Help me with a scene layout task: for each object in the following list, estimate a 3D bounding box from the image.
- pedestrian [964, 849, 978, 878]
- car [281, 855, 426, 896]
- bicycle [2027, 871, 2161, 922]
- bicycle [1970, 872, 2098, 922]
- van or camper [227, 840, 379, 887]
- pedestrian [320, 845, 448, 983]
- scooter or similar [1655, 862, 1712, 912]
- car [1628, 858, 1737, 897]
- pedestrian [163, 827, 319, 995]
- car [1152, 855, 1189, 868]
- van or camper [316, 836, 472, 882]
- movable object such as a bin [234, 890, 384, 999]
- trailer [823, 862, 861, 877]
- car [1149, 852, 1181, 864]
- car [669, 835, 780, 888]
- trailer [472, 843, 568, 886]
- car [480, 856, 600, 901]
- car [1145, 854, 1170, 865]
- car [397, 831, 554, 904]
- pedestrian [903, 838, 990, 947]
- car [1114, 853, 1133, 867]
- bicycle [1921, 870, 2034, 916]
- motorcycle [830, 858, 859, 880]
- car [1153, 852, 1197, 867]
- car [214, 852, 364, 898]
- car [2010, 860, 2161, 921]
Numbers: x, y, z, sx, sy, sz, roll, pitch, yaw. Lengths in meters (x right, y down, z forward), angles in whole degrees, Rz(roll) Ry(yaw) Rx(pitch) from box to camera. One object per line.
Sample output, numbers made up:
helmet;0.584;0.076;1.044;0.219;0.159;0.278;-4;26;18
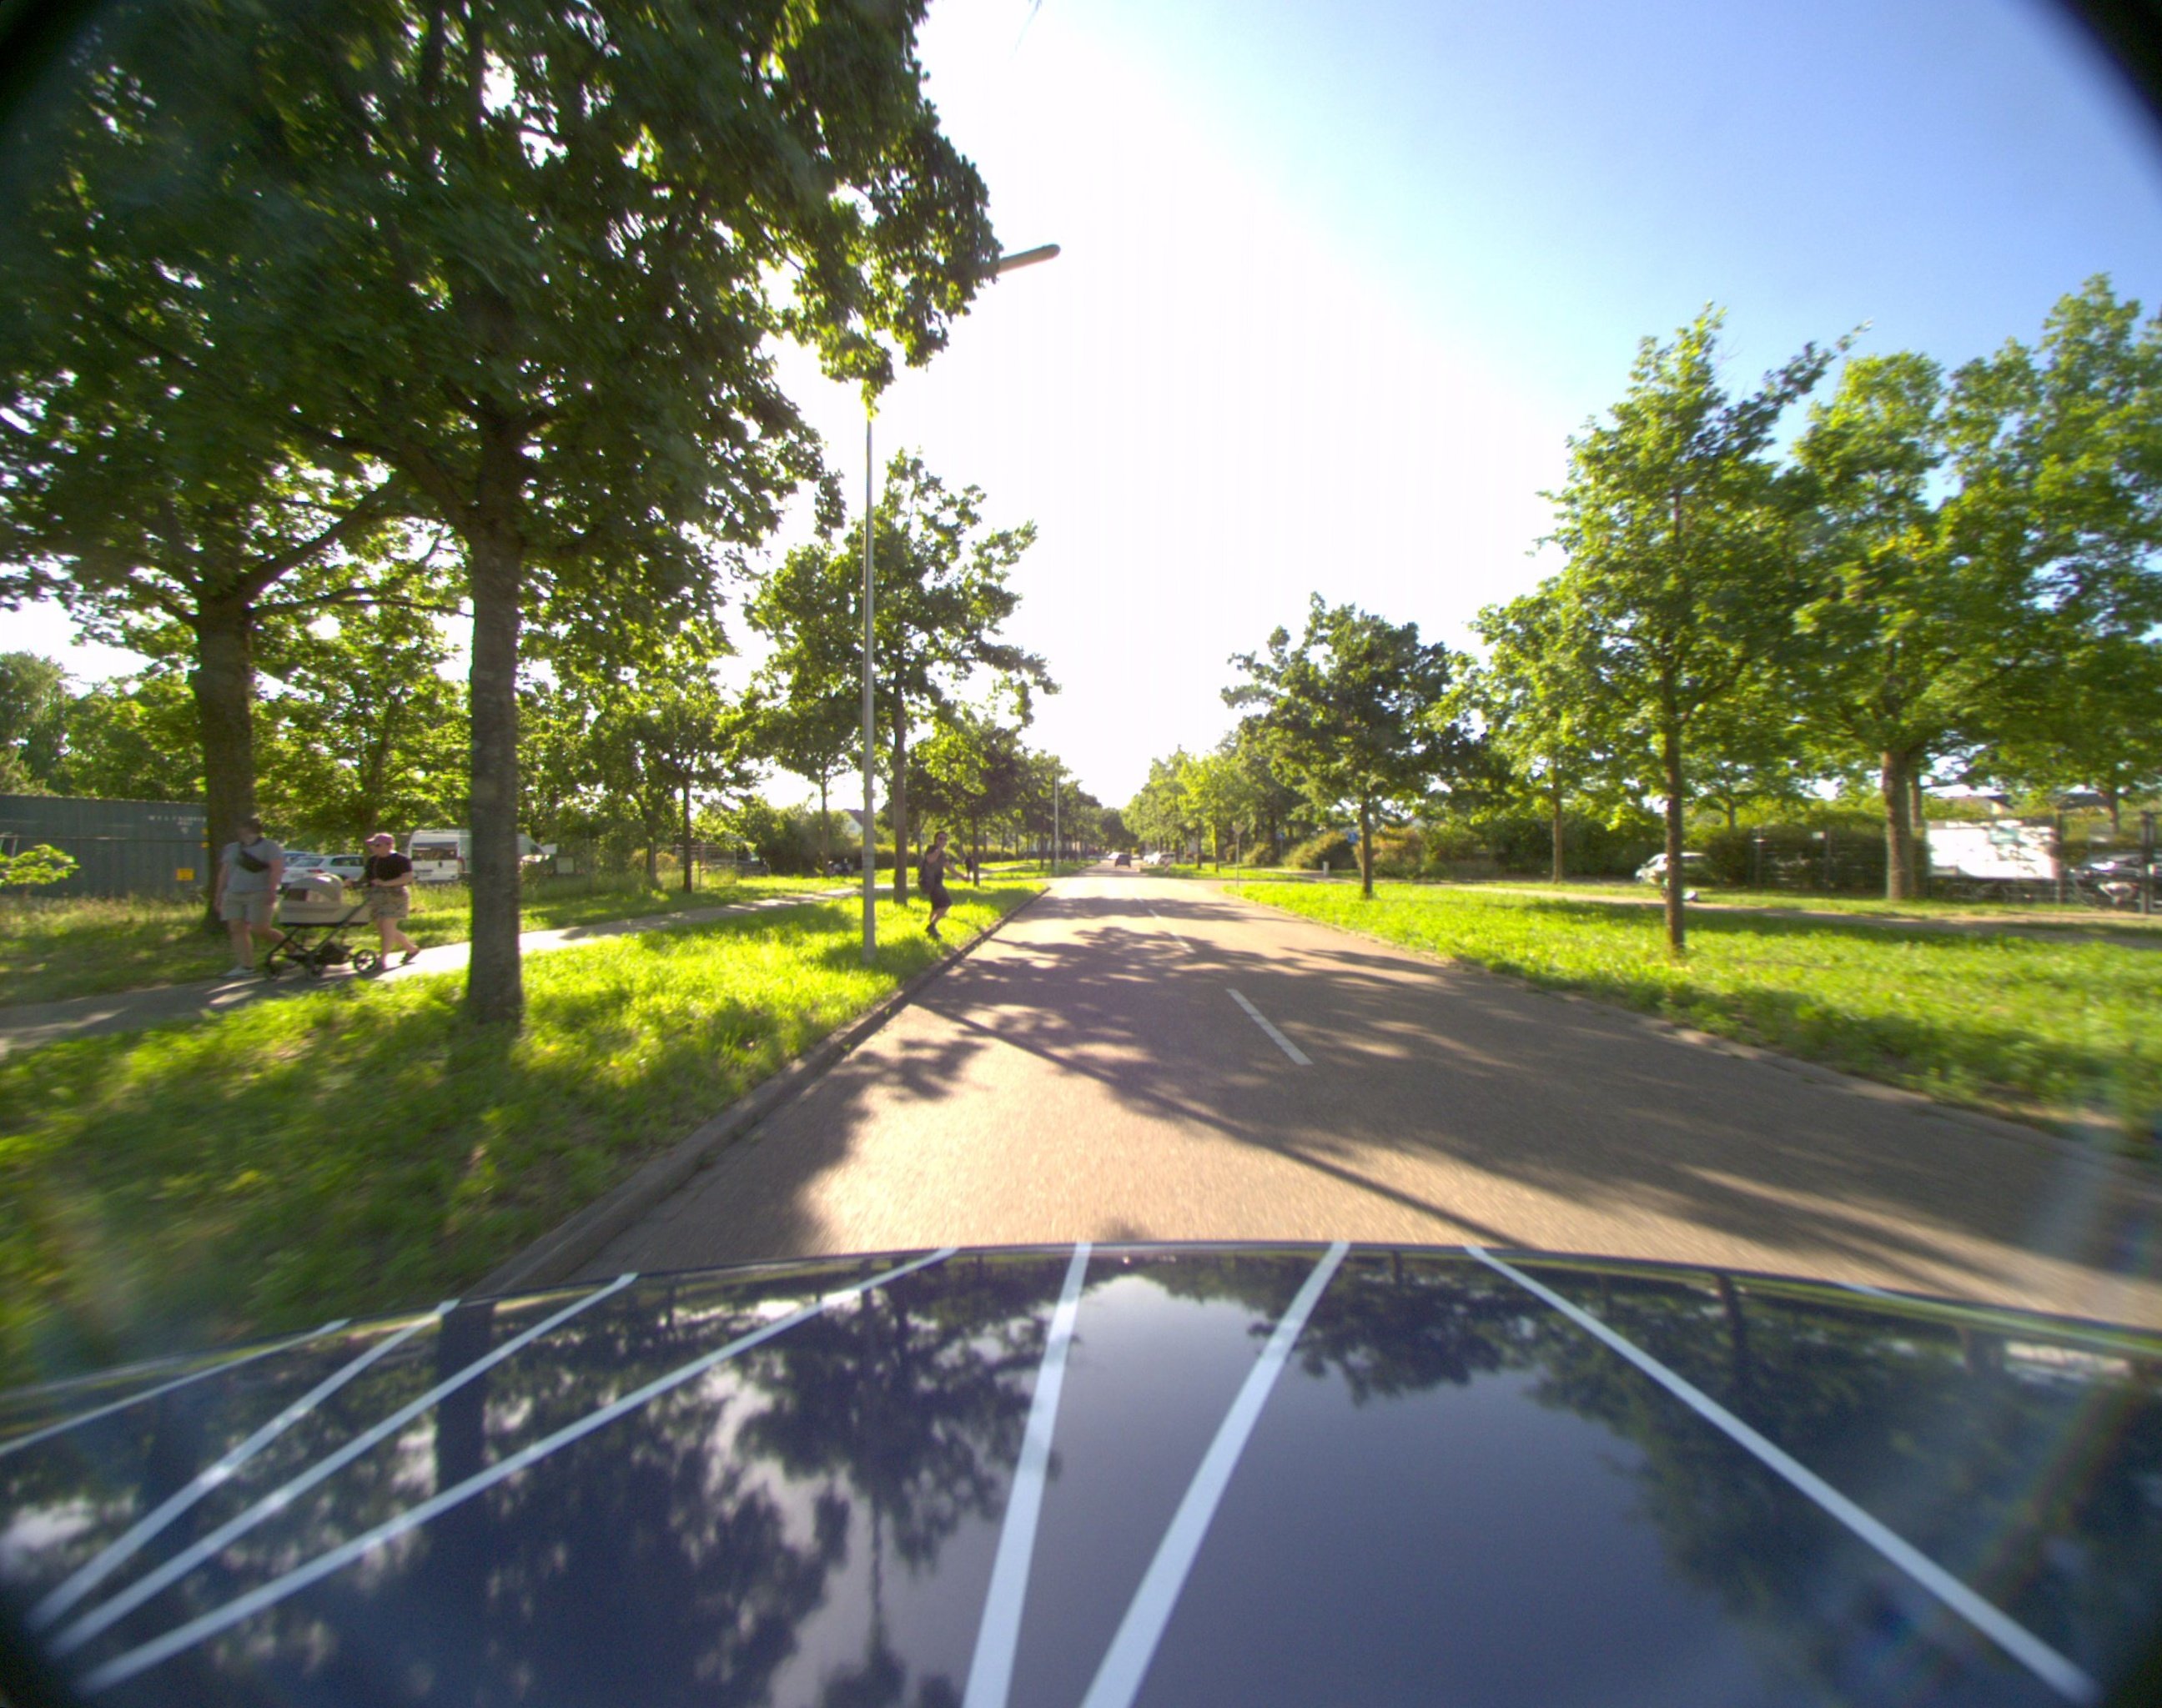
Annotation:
pedestrian;-7.038;0.602;48.516;0.727;1.802;0.867;0;1;1
car;-30.481;0.855;31.981;1.836;1.630;4.007;0;0;22
bicycle;23.293;0.952;17.515;0.641;1.081;1.891;0;0;1
bicycle;22.299;0.979;17.838;0.641;1.081;1.891;0;0;1
van or camper;-45.545;0.508;44.748;2.184;2.560;5.925;0;0;13
pedestrian;-8.383;0.691;9.181;0.727;1.594;0.867;0;0;1
scooter or similar;15.926;0.849;20.129;0.396;1.272;1.441;0;0;2
car;24.523;0.990;31.159;1.996;1.495;3.923;0;-2;13
pedestrian;-9.163;0.593;8.329;0.727;1.745;0.867;0;0;1
car;11.291;0.919;96.013;4.422;1.502;2.089;-2;0;3
van or camper;-40.595;0.274;45.233;2.184;2.560;6.785;0;0;13
movable object such as a bin;-8.406;0.962;8.314;0.727;1.075;0.867;2;0;1
trailer;-16.527;1.052;52.605;1.581;0.863;2.055;0;4;13
car;11.702;0.581;106.292;4.422;1.547;2.089;-2;0;5
car;-18.770;0.519;40.446;2.087;2.550;5.980;-2;-3;13
trailer;-31.446;0.562;42.742;2.192;2.294;3.793;0;0;13
car;-20.705;0.888;29.288;2.010;1.654;3.597;0;0;1
car;12.829;0.880;126.949;4.071;1.633;1.877;-2;0;6
car;-23.349;0.497;29.616;2.165;2.627;4.851;0;0;1
pedestrian;-2.150;0.576;12.112;1.101;1.642;1.020;0;0;-28
car;4.697;0.705;85.039;1.809;1.527;4.495;1;0;0
bicycle;22.635;0.953;19.240;0.641;1.081;1.891;0;0;1
motorcycle;-15.763;0.992;50.646;0.664;1.225;2.407;0;4;13
car;10.503;0.574;85.337;4.638;1.549;2.191;-2;0;-1
car;-33.549;0.847;32.363;1.997;1.812;4.003;0;0;9
car;26.913;0.893;19.307;1.799;1.440;4.000;0;0;2
